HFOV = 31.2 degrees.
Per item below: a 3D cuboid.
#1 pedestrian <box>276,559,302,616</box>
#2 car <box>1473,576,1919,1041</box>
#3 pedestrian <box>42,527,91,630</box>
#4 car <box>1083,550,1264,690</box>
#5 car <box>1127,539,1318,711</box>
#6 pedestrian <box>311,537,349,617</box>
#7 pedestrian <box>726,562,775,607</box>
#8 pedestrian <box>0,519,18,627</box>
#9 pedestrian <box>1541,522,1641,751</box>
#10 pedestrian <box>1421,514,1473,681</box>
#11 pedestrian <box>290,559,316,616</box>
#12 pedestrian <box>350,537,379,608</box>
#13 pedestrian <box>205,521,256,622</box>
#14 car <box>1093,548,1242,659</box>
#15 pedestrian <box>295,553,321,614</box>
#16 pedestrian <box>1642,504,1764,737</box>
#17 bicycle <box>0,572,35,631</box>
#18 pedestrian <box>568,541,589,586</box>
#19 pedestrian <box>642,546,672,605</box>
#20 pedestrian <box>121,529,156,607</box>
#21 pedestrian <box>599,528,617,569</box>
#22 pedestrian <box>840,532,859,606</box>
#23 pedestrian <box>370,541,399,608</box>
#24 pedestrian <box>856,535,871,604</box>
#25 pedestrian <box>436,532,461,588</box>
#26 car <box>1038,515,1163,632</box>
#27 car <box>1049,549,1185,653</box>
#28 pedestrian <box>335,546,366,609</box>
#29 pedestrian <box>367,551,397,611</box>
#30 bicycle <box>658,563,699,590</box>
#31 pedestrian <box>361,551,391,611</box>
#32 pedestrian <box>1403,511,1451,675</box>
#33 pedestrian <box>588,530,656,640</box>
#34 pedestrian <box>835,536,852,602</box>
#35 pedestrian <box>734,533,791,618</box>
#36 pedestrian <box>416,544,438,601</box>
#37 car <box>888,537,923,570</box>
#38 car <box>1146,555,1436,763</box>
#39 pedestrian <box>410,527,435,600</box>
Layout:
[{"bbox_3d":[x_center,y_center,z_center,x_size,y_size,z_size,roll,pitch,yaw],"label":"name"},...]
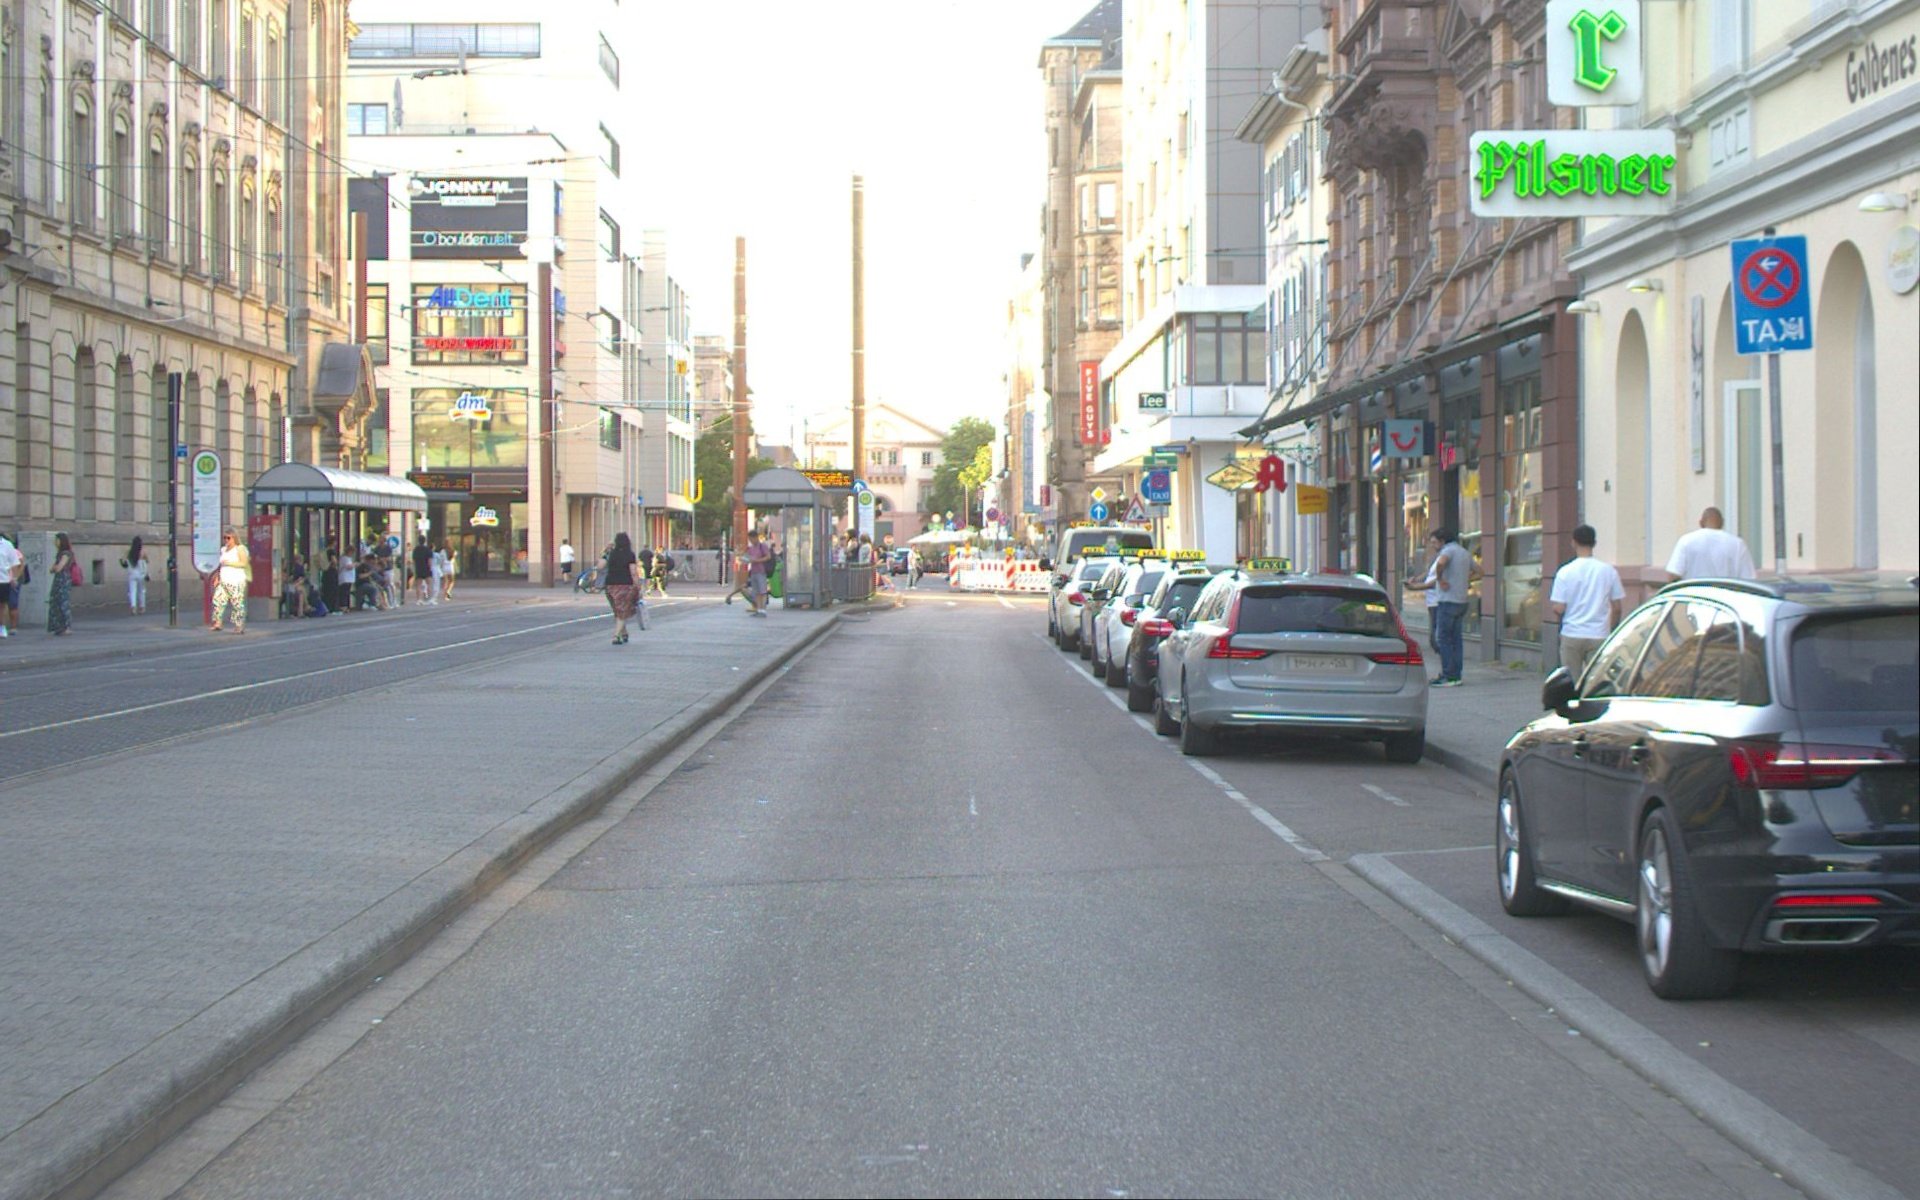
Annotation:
[{"bbox_3d":[-12.965,-0.244,66.440,0.364,1.099,0.429,1,0,5],"label":"pedestrian"},{"bbox_3d":[3.127,0.618,12.712,1.696,1.385,4.548,-1,0,-1],"label":"car"},{"bbox_3d":[-14.113,-0.339,54.290,0.571,1.600,0.440,1,0,25],"label":"pedestrian"},{"bbox_3d":[2.493,0.216,41.136,1.732,1.506,4.865,2,0,-1],"label":"car"},{"bbox_3d":[2.625,0.230,35.170,1.733,1.585,4.441,2,0,2],"label":"car"},{"bbox_3d":[-12.996,-0.464,70.910,0.518,1.645,0.637,0,0,22],"label":"pedestrian"},{"bbox_3d":[-4.371,-0.327,71.649,0.799,0.936,0.692,1,1,22],"label":"pedestrian"},{"bbox_3d":[-14.687,-0.418,52.344,0.476,1.636,0.562,1,0,5],"label":"pedestrian"},{"bbox_3d":[4.785,0.273,26.069,0.619,1.683,0.486,-4,1,11],"label":"pedestrian"},{"bbox_3d":[5.228,-0.034,36.917,0.372,1.762,0.663,-2,1,-4],"label":"pedestrian"},{"bbox_3d":[-12.815,-0.243,67.026,0.364,1.099,0.429,1,0,5],"label":"pedestrian"},{"bbox_3d":[-13.837,-0.626,79.887,0.518,1.640,0.638,0,0,3],"label":"pedestrian"},{"bbox_3d":[-11.312,-0.443,53.326,0.659,1.556,0.680,0,1,-1],"label":"pedestrian"},{"bbox_3d":[2.918,0.030,49.168,1.726,1.472,4.821,1,0,-1],"label":"car"},{"bbox_3d":[-12.867,-0.317,67.872,0.364,1.196,0.429,1,0,5],"label":"pedestrian"},{"bbox_3d":[5.577,0.147,25.829,0.760,1.683,0.551,-4,1,10],"label":"pedestrian"},{"bbox_3d":[-14.788,0.009,51.764,1.576,0.871,0.451,1,0,4],"label":"bicycle"},{"bbox_3d":[-15.792,-1.525,142.310,0.573,1.848,0.816,1,0,11],"label":"pedestrian"},{"bbox_3d":[-9.421,-0.751,106.867,0.699,1.809,0.852,1,0,8],"label":"pedestrian"},{"bbox_3d":[-16.613,-0.649,69.498,0.659,1.556,0.680,0,1,-15],"label":"pedestrian"},{"bbox_3d":[-14.403,-2.114,140.618,0.649,1.668,0.530,0,1,8],"label":"pedestrian"},{"bbox_3d":[-2.663,-0.751,83.123,0.412,1.761,0.594,1,0,-3],"label":"pedestrian"},{"bbox_3d":[-13.498,-0.605,80.654,0.518,1.564,0.638,0,0,3],"label":"pedestrian"},{"bbox_3d":[-2.494,-0.789,88.956,0.341,1.789,0.544,1,0,-3],"label":"pedestrian"},{"bbox_3d":[-13.878,-1.093,93.293,0.525,1.520,0.503,0,1,-25],"label":"pedestrian"},{"bbox_3d":[2.452,-0.463,61.145,1.876,1.917,4.700,2,0,-1],"label":"car"},{"bbox_3d":[2.446,-0.021,54.608,1.806,1.478,4.778,2,1,-1],"label":"car"},{"bbox_3d":[-13.006,-0.477,73.346,0.518,1.323,0.638,0,0,3],"label":"pedestrian"},{"bbox_3d":[-12.905,-0.429,76.725,0.518,1.323,0.638,0,0,3],"label":"pedestrian"},{"bbox_3d":[-12.209,-1.015,149.213,1.696,1.118,0.451,1,0,2],"label":"bicycle"},{"bbox_3d":[-12.895,-0.425,75.957,0.518,1.323,0.638,0,0,3],"label":"pedestrian"},{"bbox_3d":[5.081,-0.077,37.435,0.372,1.762,0.456,-2,1,-4],"label":"pedestrian"},{"bbox_3d":[-4.650,-0.213,47.300,0.846,1.496,0.901,0,1,-1],"label":"pedestrian"},{"bbox_3d":[-2.922,-0.785,86.133,0.385,1.636,0.549,1,0,-3],"label":"pedestrian"},{"bbox_3d":[-3.816,-0.483,66.580,0.687,1.632,0.859,1,1,40],"label":"pedestrian"},{"bbox_3d":[-14.383,-0.745,92.714,0.518,1.520,0.501,0,1,-17],"label":"pedestrian"},{"bbox_3d":[-3.247,-2.736,204.526,1.993,1.897,4.000,1,0,-1],"label":"car"},{"bbox_3d":[2.603,0.414,28.086,1.806,1.470,4.694,1,1,-1],"label":"car"},{"bbox_3d":[-13.073,-0.881,83.610,0.559,1.770,0.469,1,1,-5],"label":"pedestrian"}]
